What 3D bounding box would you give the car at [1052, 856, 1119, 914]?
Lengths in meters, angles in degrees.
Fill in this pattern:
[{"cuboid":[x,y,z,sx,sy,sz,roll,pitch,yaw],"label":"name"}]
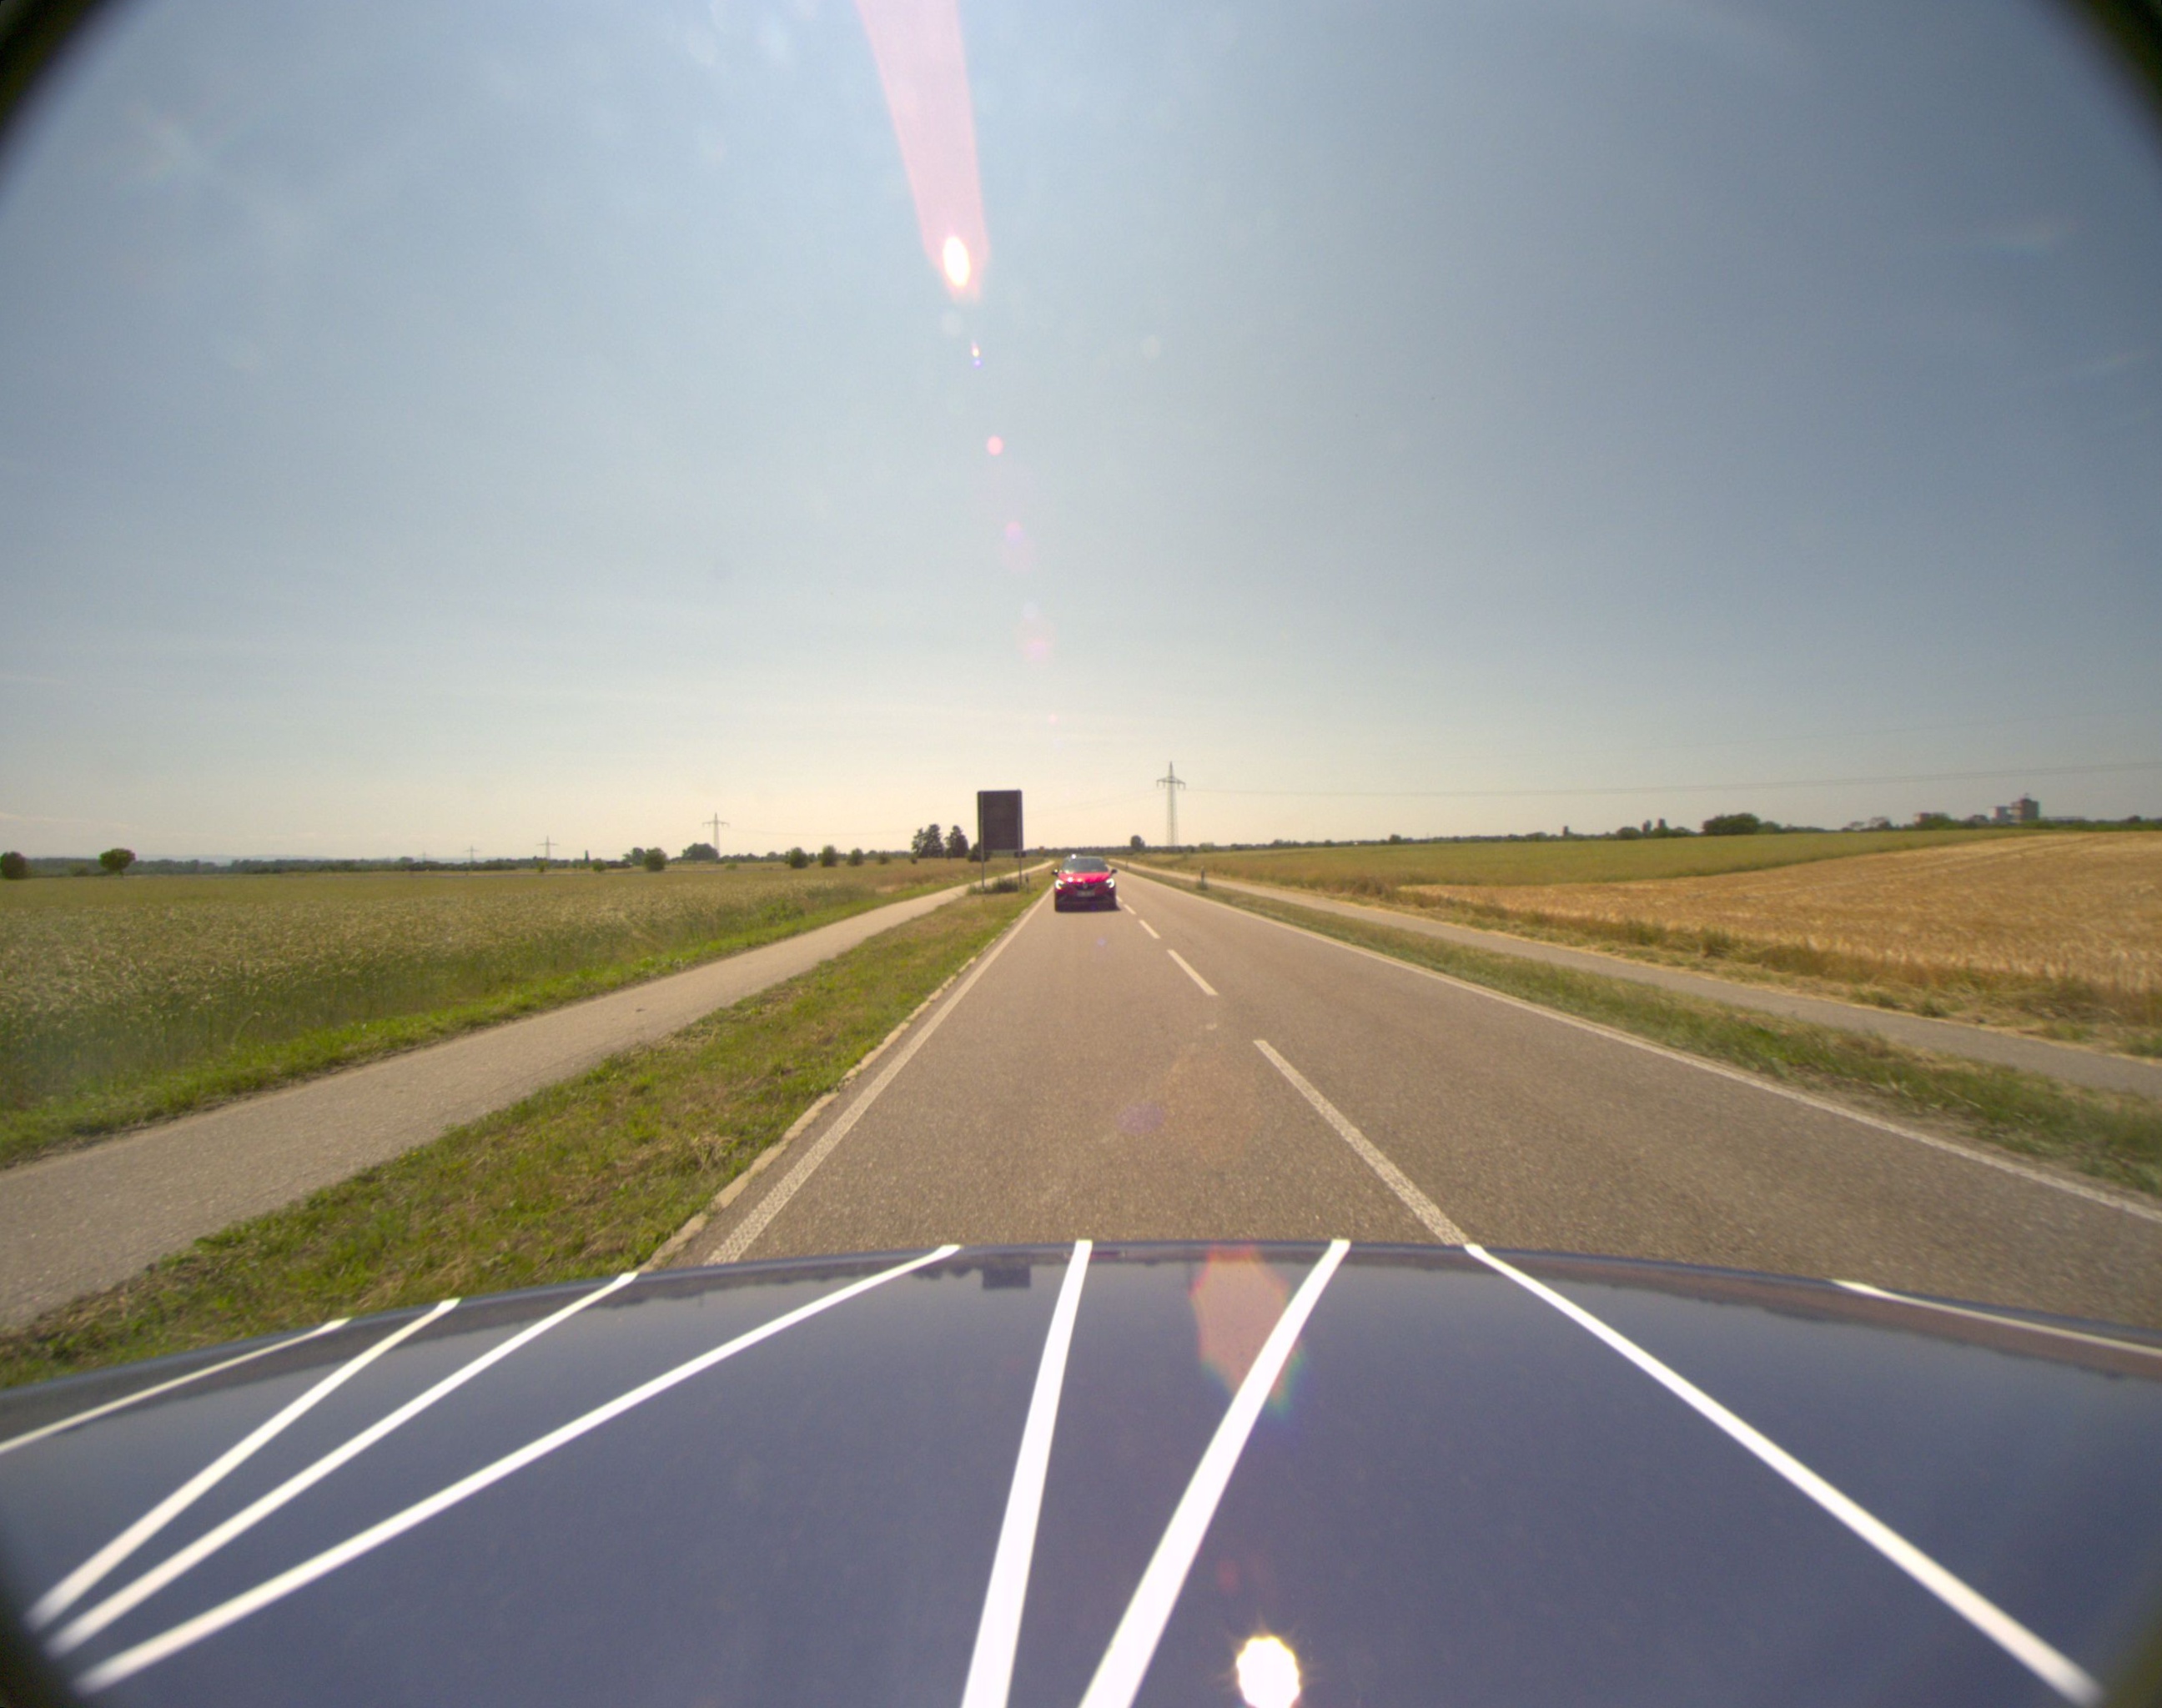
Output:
[{"cuboid":[0.122,0.885,23.763,1.827,1.543,4.448,-2,0,0],"label":"car"}]
